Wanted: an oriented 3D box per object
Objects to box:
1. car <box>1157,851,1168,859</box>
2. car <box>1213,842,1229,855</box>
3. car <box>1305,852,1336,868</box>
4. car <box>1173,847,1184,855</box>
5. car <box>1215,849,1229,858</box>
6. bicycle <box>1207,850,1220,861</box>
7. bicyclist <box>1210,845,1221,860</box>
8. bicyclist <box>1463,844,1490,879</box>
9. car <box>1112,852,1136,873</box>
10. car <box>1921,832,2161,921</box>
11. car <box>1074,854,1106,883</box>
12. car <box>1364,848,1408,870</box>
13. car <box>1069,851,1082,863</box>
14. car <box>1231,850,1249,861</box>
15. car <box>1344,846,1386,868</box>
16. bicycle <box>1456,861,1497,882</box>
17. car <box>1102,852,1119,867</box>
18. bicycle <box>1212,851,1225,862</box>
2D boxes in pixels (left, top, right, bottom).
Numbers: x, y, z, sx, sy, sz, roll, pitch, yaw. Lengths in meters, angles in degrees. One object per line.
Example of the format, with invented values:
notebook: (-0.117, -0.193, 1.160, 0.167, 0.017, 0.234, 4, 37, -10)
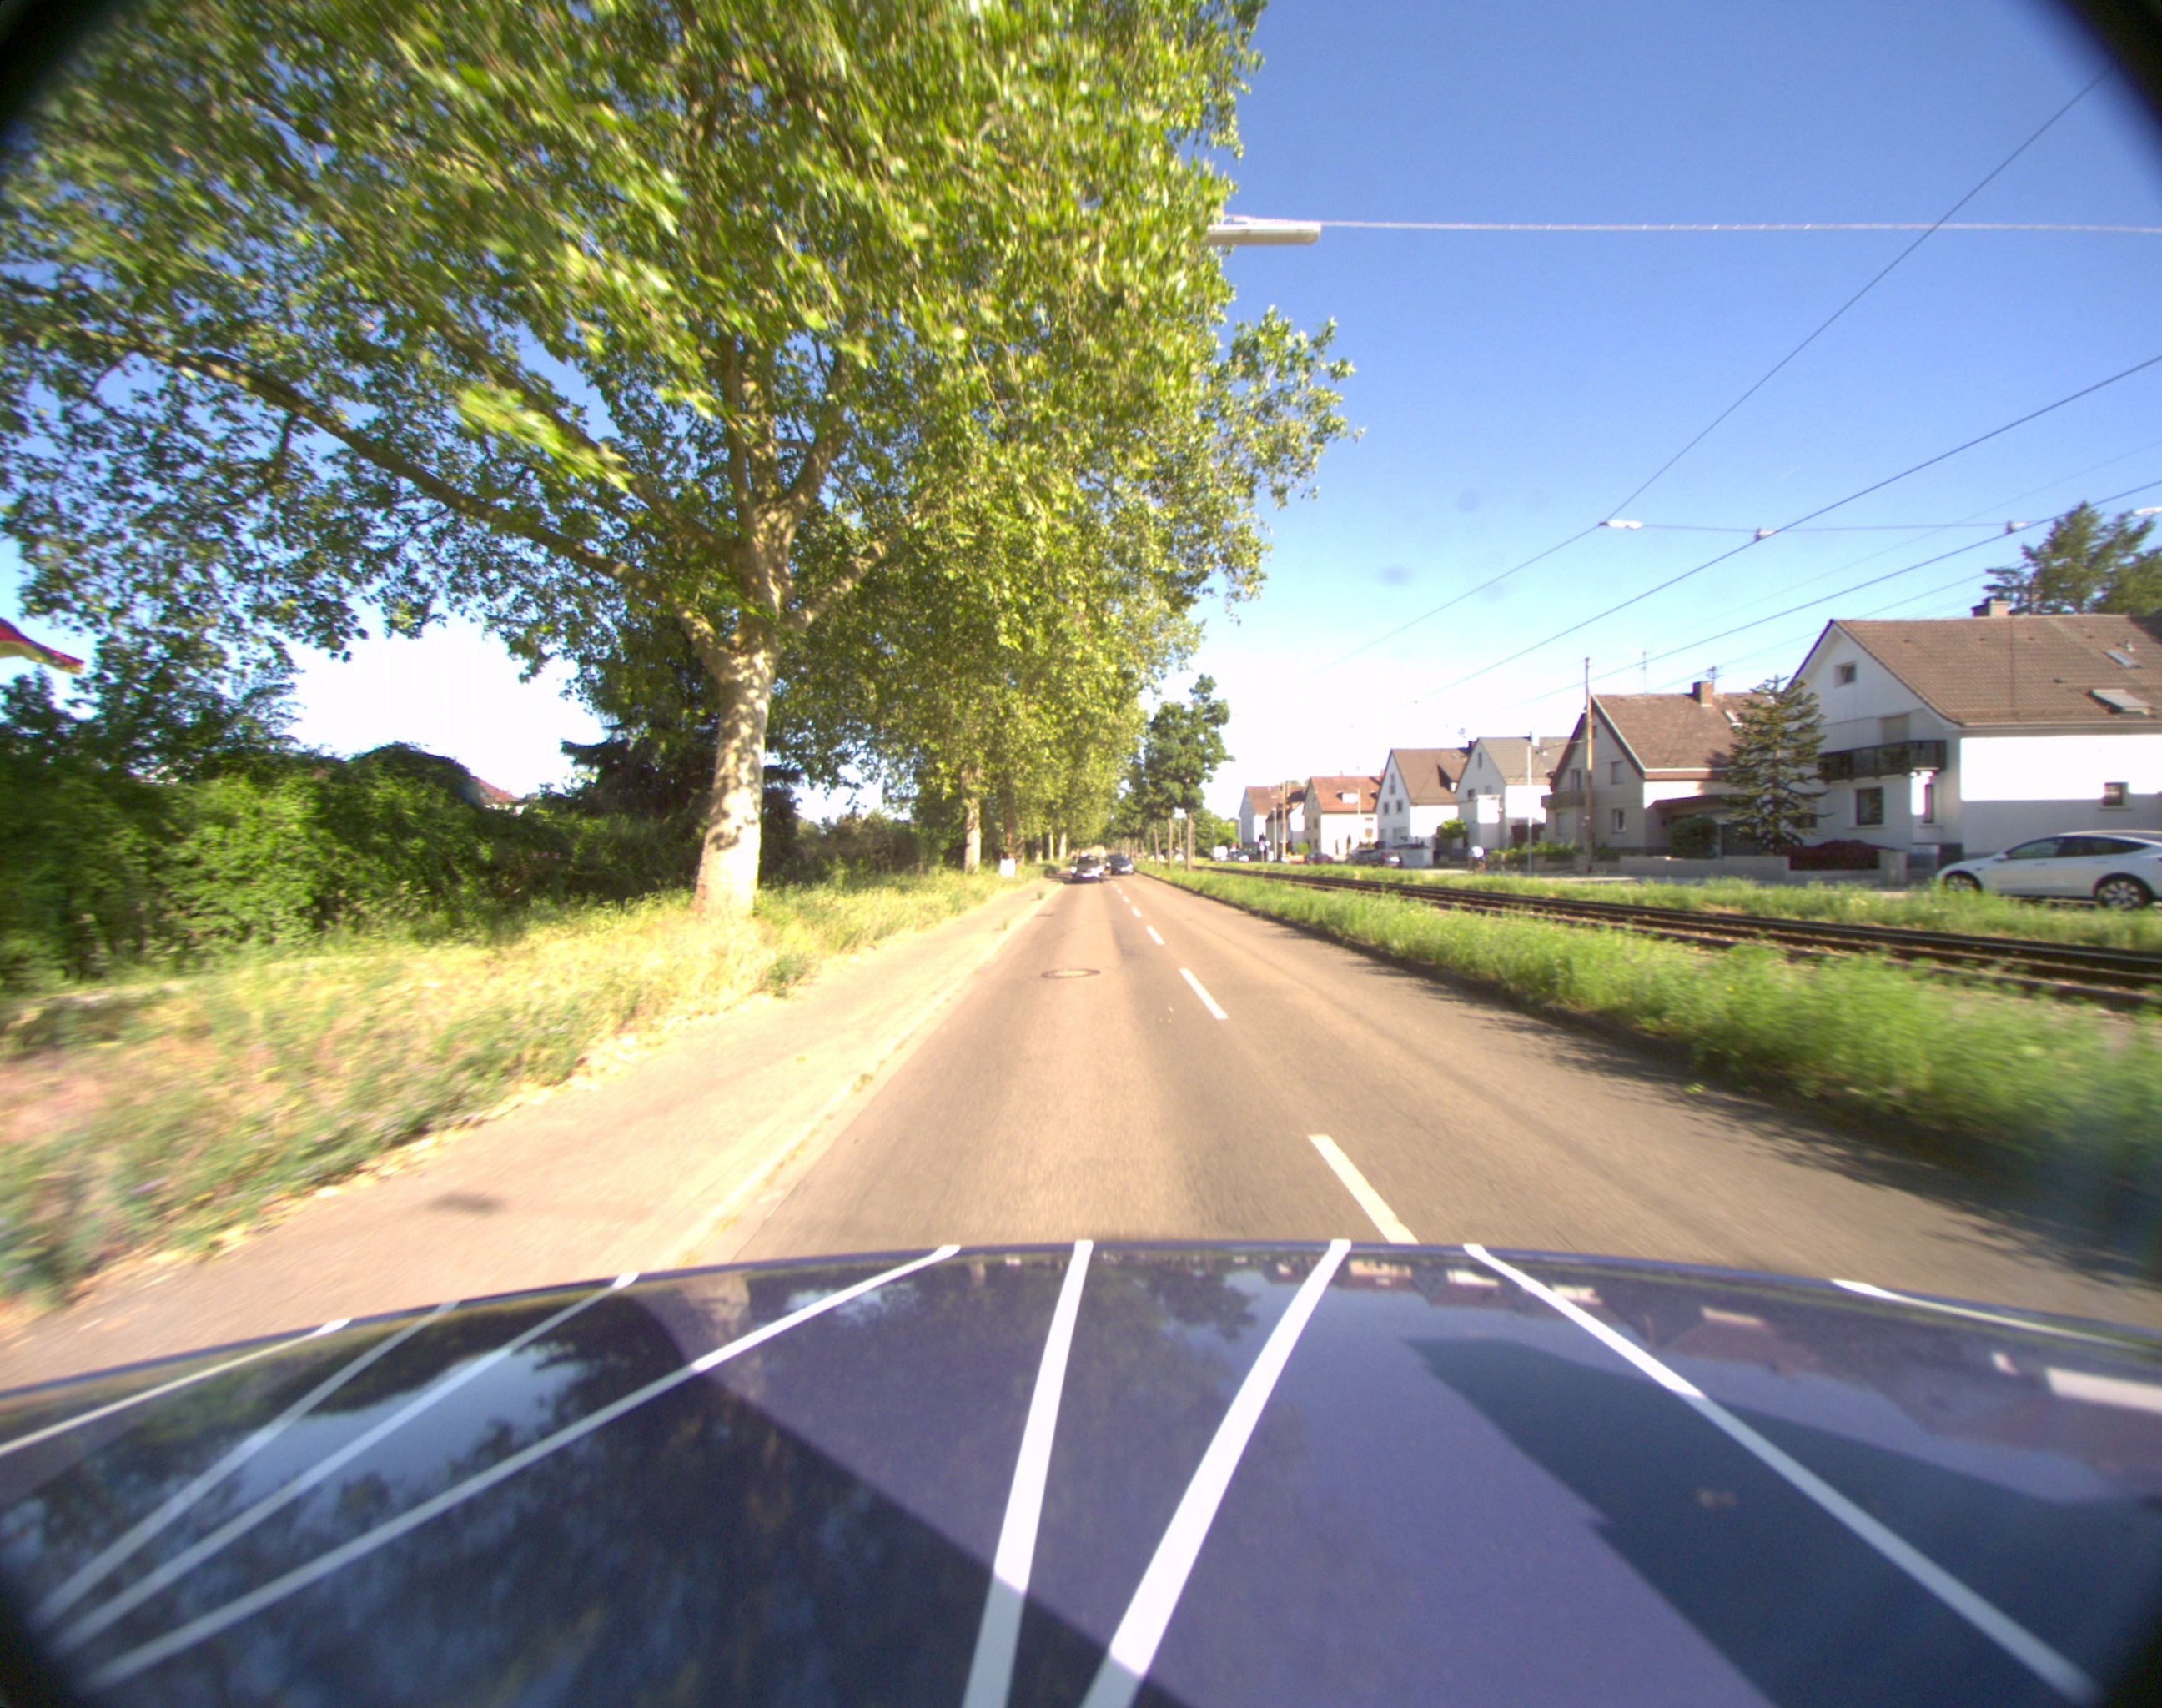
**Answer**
car: (19.826, 0.213, 185.287, 2.133, 2.023, 3.999, -2, 1, 0)
car: (23.687, -0.945, 128.980, 2.132, 2.210, 4.001, -2, 1, 4)
car: (22.760, 0.542, 72.394, 1.756, 1.373, 3.823, -2, 1, 1)
car: (24.131, -0.739, 187.935, 2.133, 2.023, 3.999, -2, 1, 0)
car: (23.001, -0.096, 123.995, 1.791, 1.497, 4.001, -2, 1, 4)
bicycle: (21.075, 0.204, 120.844, 1.354, 1.568, 4.000, -2, 1, 1)
bicyclist: (20.477, -0.277, 115.766, 1.310, 2.220, 1.623, -2, 1, 1)
bicyclist: (19.625, 0.374, 37.706, 0.854, 1.664, 0.836, -2, 1, 0)
car: (3.332, 0.667, 59.063, 1.692, 1.499, 3.582, -2, 1, 1)
car: (21.932, 0.407, 16.538, 1.998, 1.668, 4.839, -2, 1, 1)
car: (0.512, 0.781, 43.401, 1.692, 1.499, 3.582, -2, 1, 1)
car: (22.277, 0.311, 55.672, 1.738, 1.481, 3.756, -2, 1, 1)
car: (-0.739, 0.415, 105.023, 1.692, 1.499, 3.582, -2, 1, 1)
car: (23.012, 0.164, 110.142, 1.791, 1.497, 4.000, -2, 1, 1)
car: (22.391, 0.205, 59.994, 1.802, 1.588, 4.011, -2, 1, 1)
bicycle: (19.650, 0.856, 37.828, 0.854, 0.946, 2.309, -2, 1, 1)
car: (3.210, 0.622, 82.282, 1.692, 1.499, 3.582, -2, 1, 1)
bicycle: (20.978, 0.341, 116.036, 1.354, 1.486, 4.000, -2, 1, 1)
